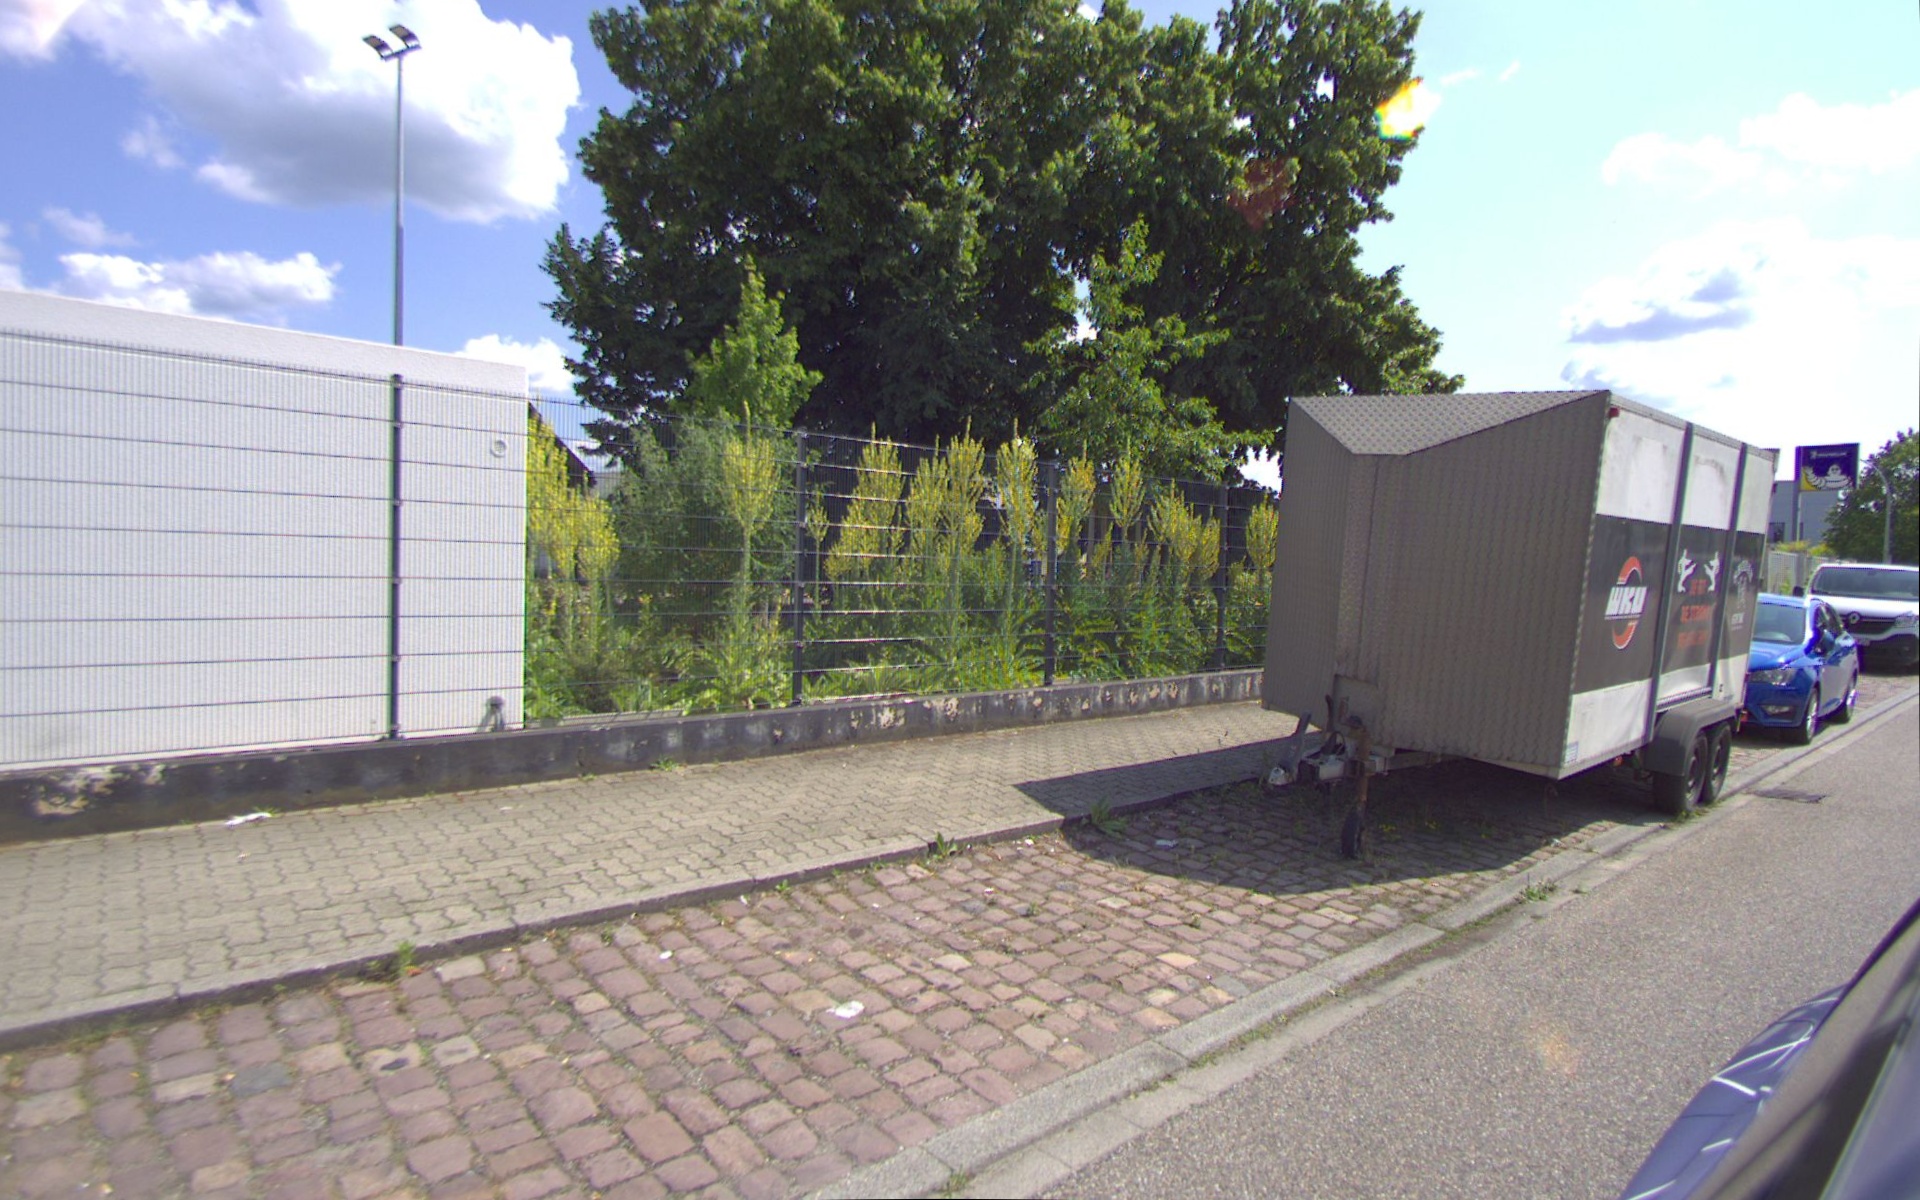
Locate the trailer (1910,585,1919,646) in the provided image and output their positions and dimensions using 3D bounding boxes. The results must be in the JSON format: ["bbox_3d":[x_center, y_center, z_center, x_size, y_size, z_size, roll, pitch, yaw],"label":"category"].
[{"bbox_3d":[25.768,0.432,26.045,1.751,1.434,4.477,7,6,44],"label":"trailer"}]

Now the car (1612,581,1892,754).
[{"bbox_3d":[8.978,0.595,11.356,4.000,1.478,1.694,-1,5,-41],"label":"car"}]

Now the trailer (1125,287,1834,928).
[{"bbox_3d":[4.077,-0.089,7.207,6.113,2.769,2.210,-1,6,-41],"label":"trailer"}]

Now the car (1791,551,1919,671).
[{"bbox_3d":[18.169,0.146,19.764,5.550,2.038,1.998,-1,3,-41],"label":"car"}]
